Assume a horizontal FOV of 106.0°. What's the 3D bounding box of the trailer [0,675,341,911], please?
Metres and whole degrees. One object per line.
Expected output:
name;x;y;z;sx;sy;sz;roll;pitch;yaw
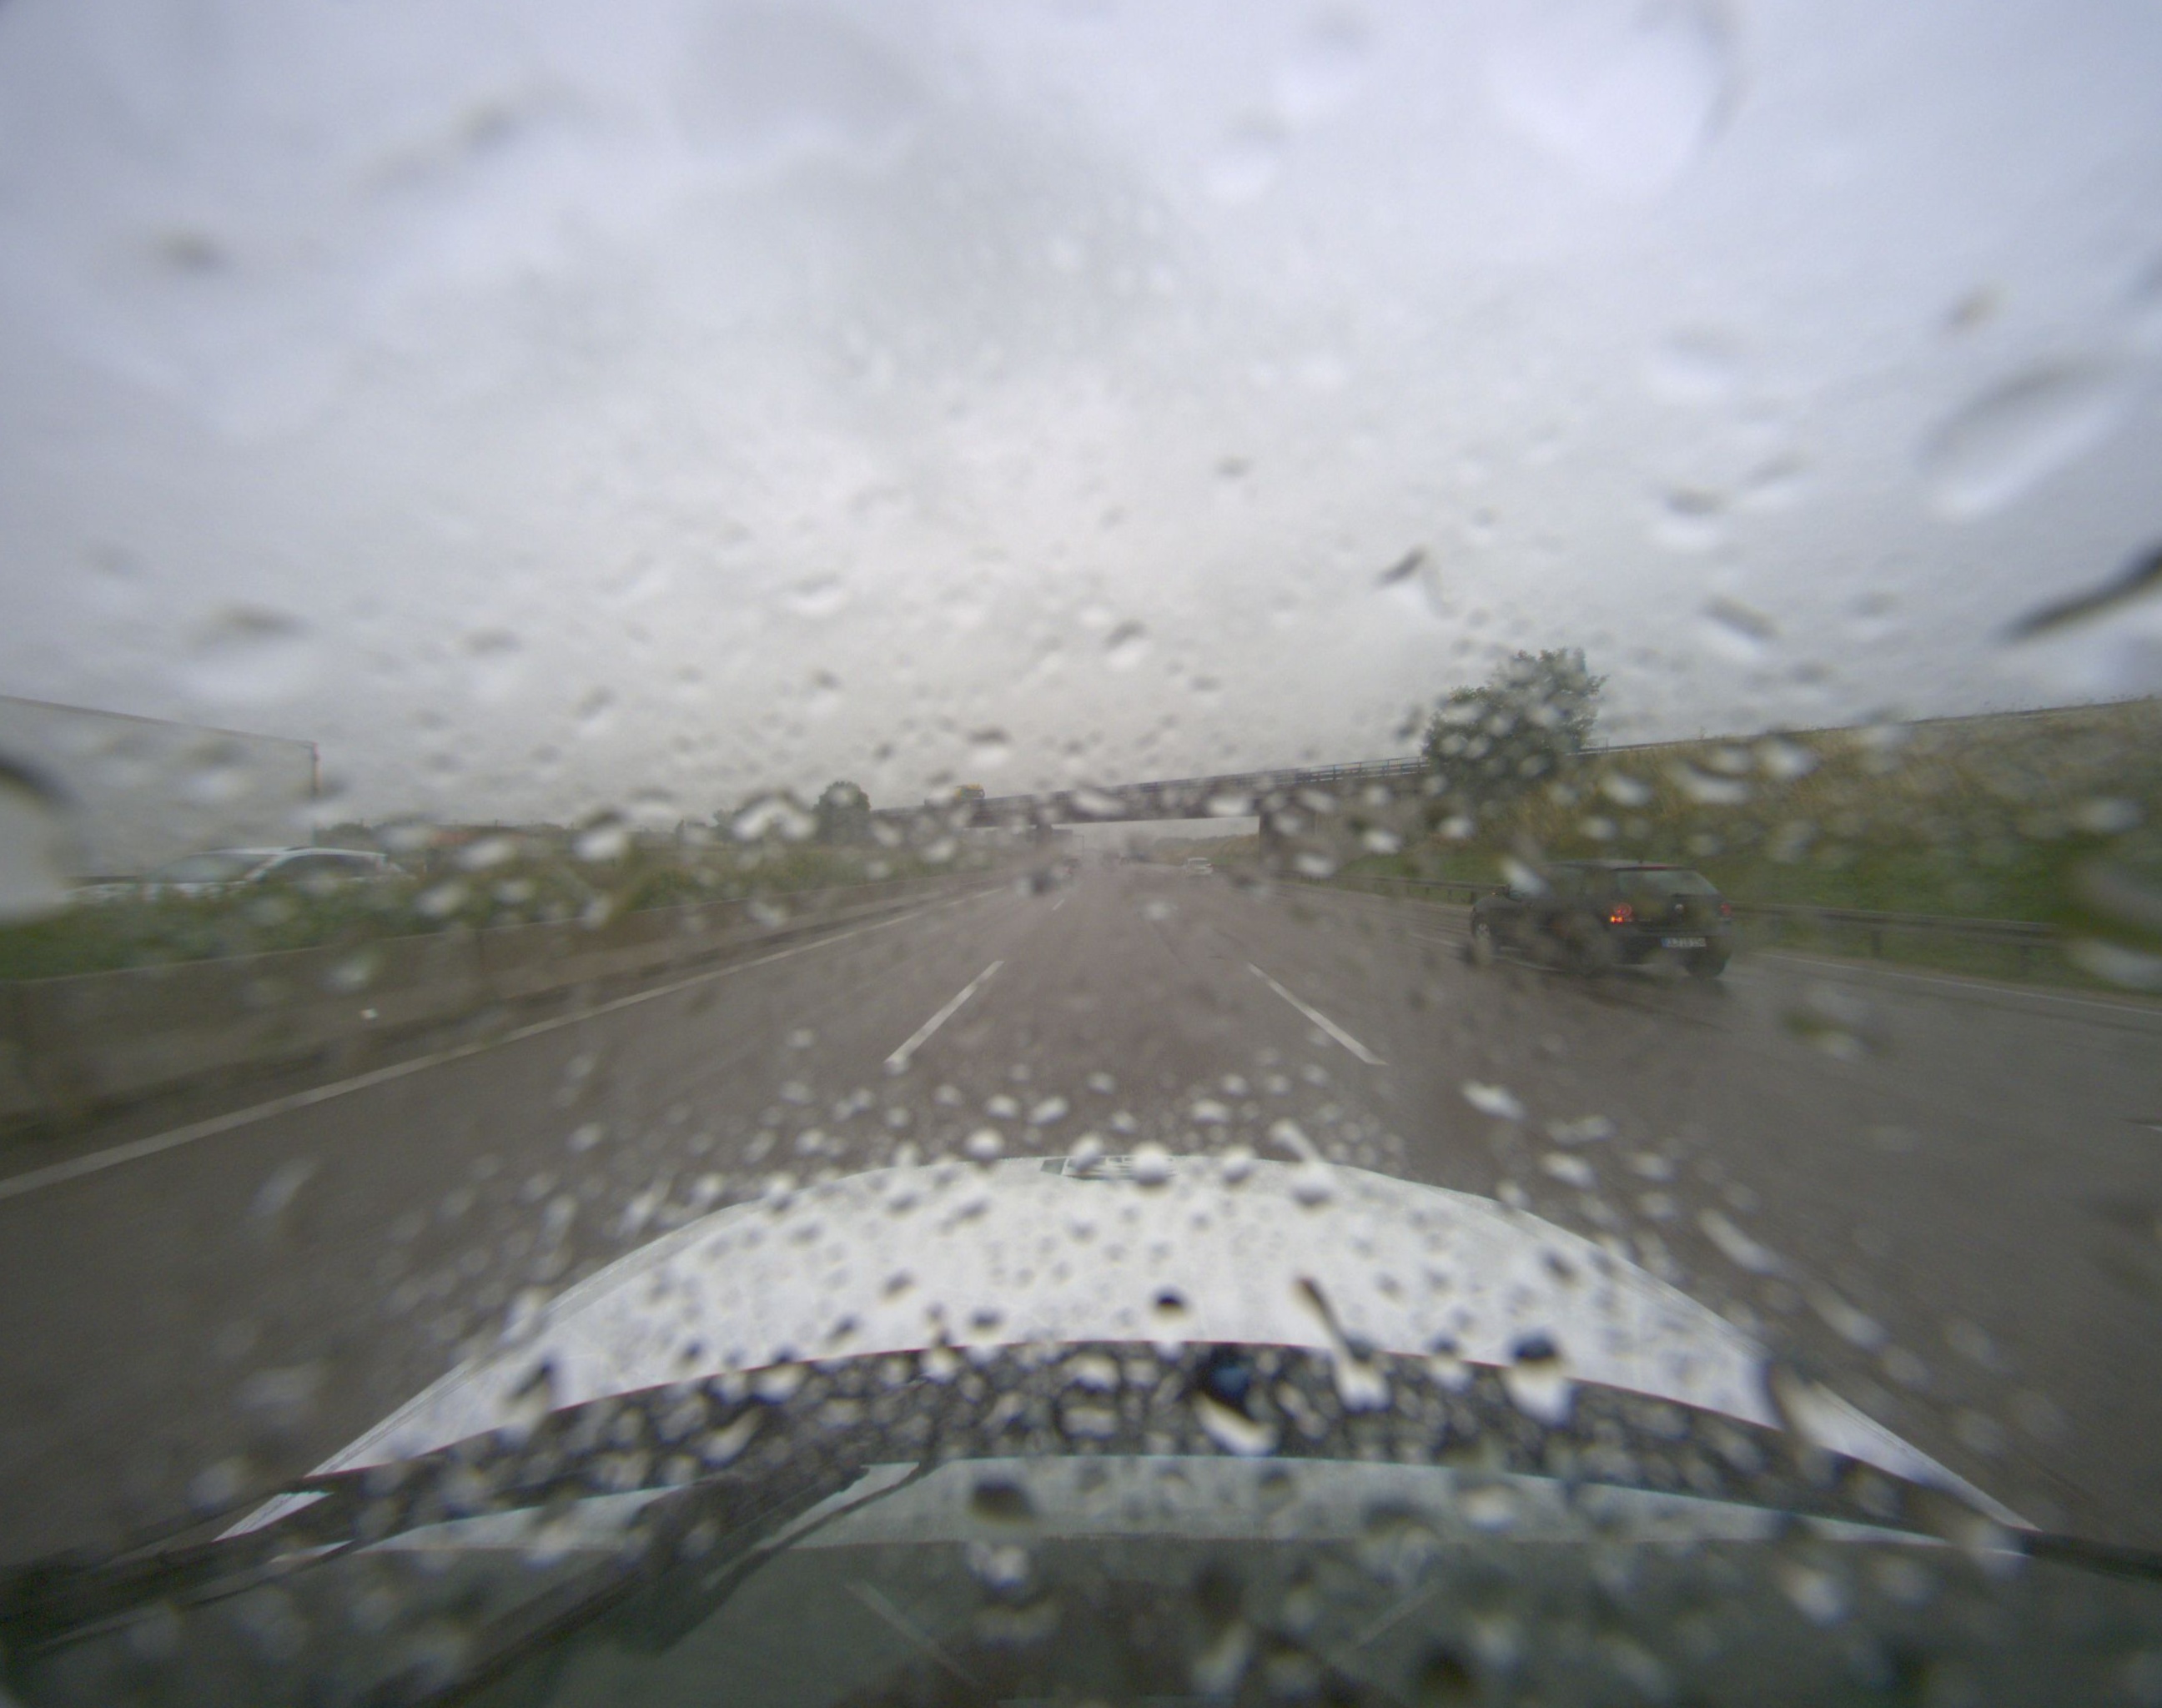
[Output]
trailer;-18.254;-0.985;11.797;1.986;3.765;13.865;1;0;2

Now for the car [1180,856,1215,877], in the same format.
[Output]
car;7.510;0.800;52.775;1.985;1.266;4.004;0;-1;4

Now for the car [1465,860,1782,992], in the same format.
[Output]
car;6.816;0.799;10.762;1.726;1.421;3.656;0;0;-1

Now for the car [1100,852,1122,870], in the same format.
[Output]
car;2.653;0.611;71.879;1.890;1.585;4.002;0;-1;2

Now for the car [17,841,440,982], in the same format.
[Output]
car;-11.408;0.667;11.389;1.596;1.618;4.002;1;0;2

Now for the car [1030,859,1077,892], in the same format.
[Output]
car;-1.321;1.029;40.873;1.838;1.513;4.762;-1;-1;4

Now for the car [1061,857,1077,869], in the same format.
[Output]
car;-1.334;1.004;94.726;1.682;1.354;4.001;0;-1;2
